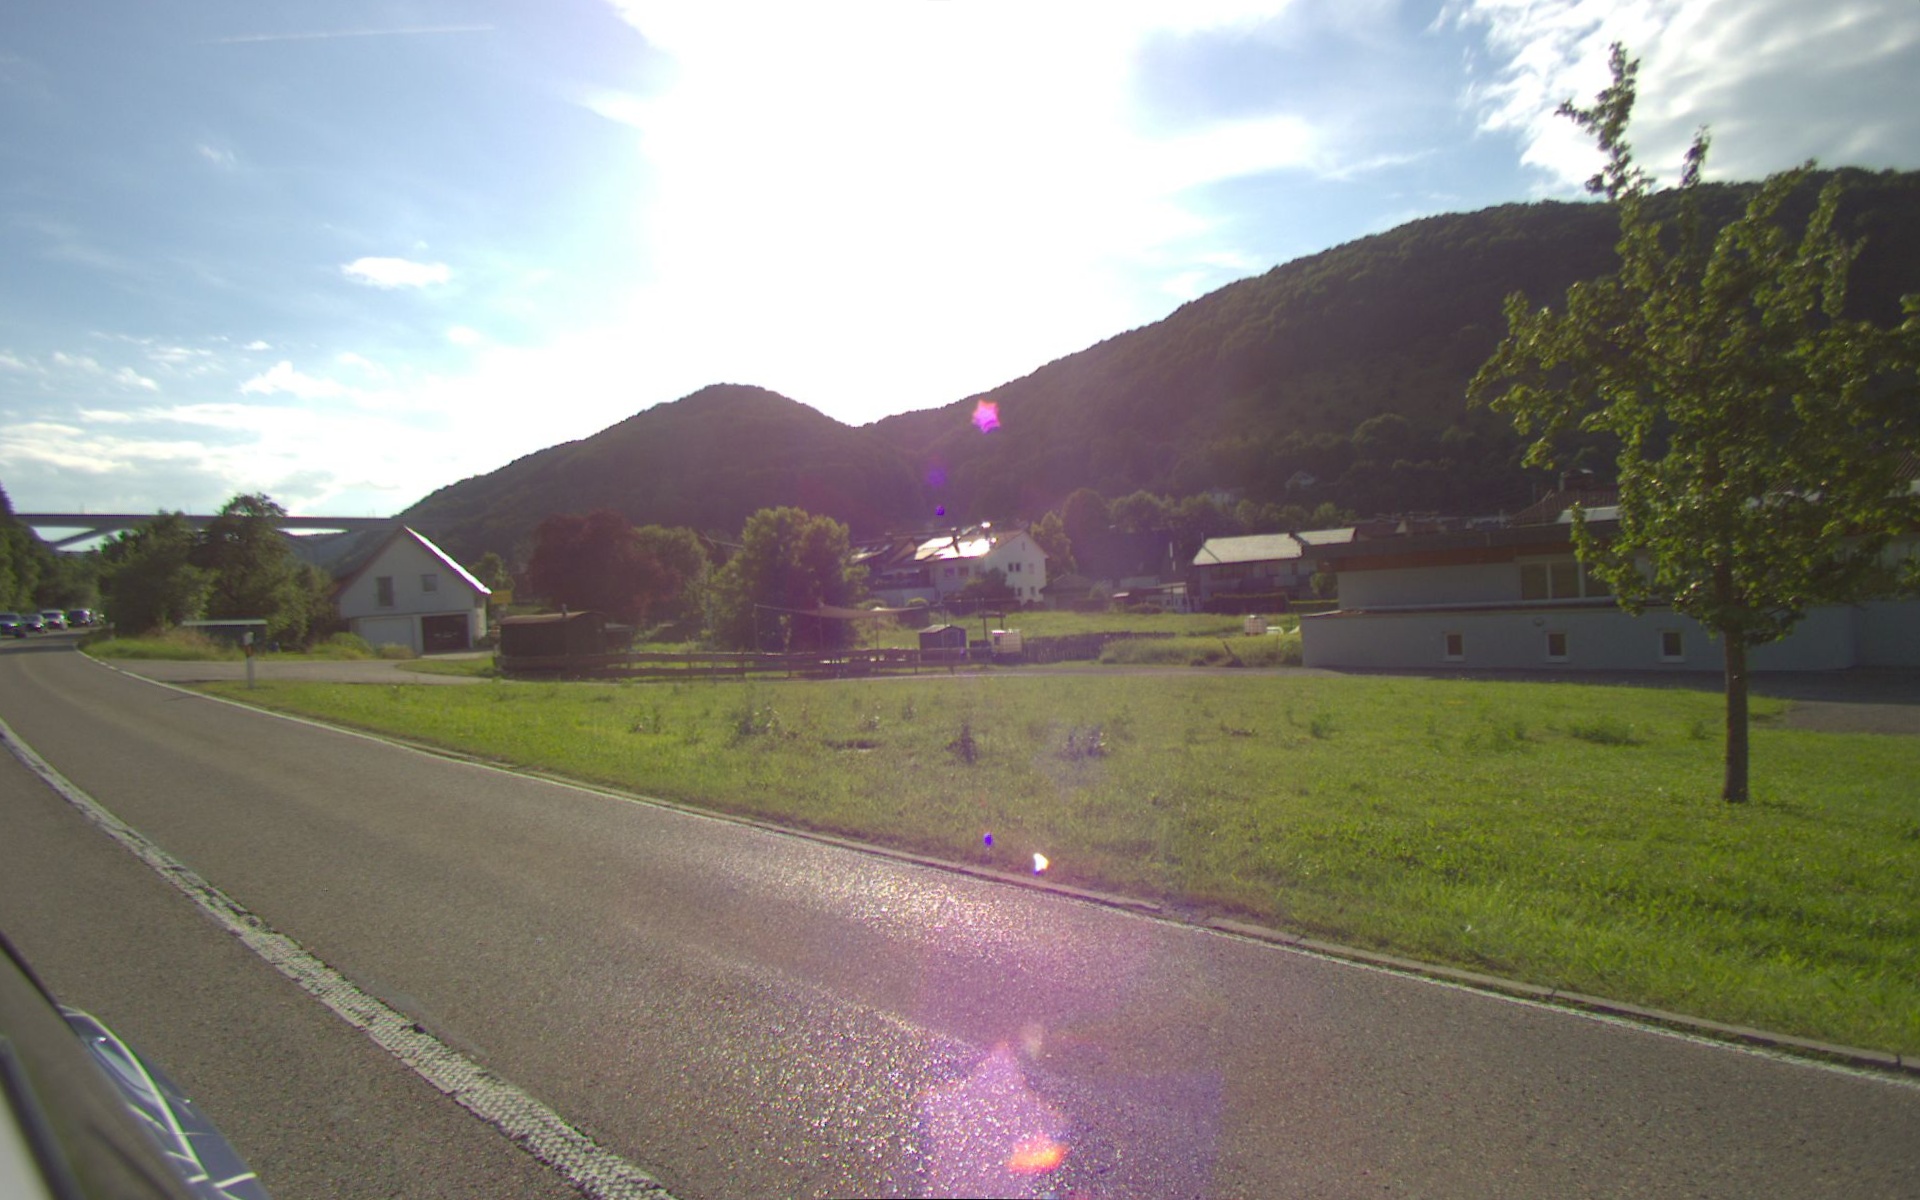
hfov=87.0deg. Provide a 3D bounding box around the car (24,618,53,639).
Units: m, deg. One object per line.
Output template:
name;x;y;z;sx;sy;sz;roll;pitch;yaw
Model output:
car;-69.922;2.164;76.801;1.606;1.490;3.684;-1;0;-42

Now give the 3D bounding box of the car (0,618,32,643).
car;-60.123;1.923;64.053;3.677;1.490;1.609;-1;0;41

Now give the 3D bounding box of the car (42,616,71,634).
car;-79.005;2.193;88.508;3.680;1.490;1.608;-1;0;44
